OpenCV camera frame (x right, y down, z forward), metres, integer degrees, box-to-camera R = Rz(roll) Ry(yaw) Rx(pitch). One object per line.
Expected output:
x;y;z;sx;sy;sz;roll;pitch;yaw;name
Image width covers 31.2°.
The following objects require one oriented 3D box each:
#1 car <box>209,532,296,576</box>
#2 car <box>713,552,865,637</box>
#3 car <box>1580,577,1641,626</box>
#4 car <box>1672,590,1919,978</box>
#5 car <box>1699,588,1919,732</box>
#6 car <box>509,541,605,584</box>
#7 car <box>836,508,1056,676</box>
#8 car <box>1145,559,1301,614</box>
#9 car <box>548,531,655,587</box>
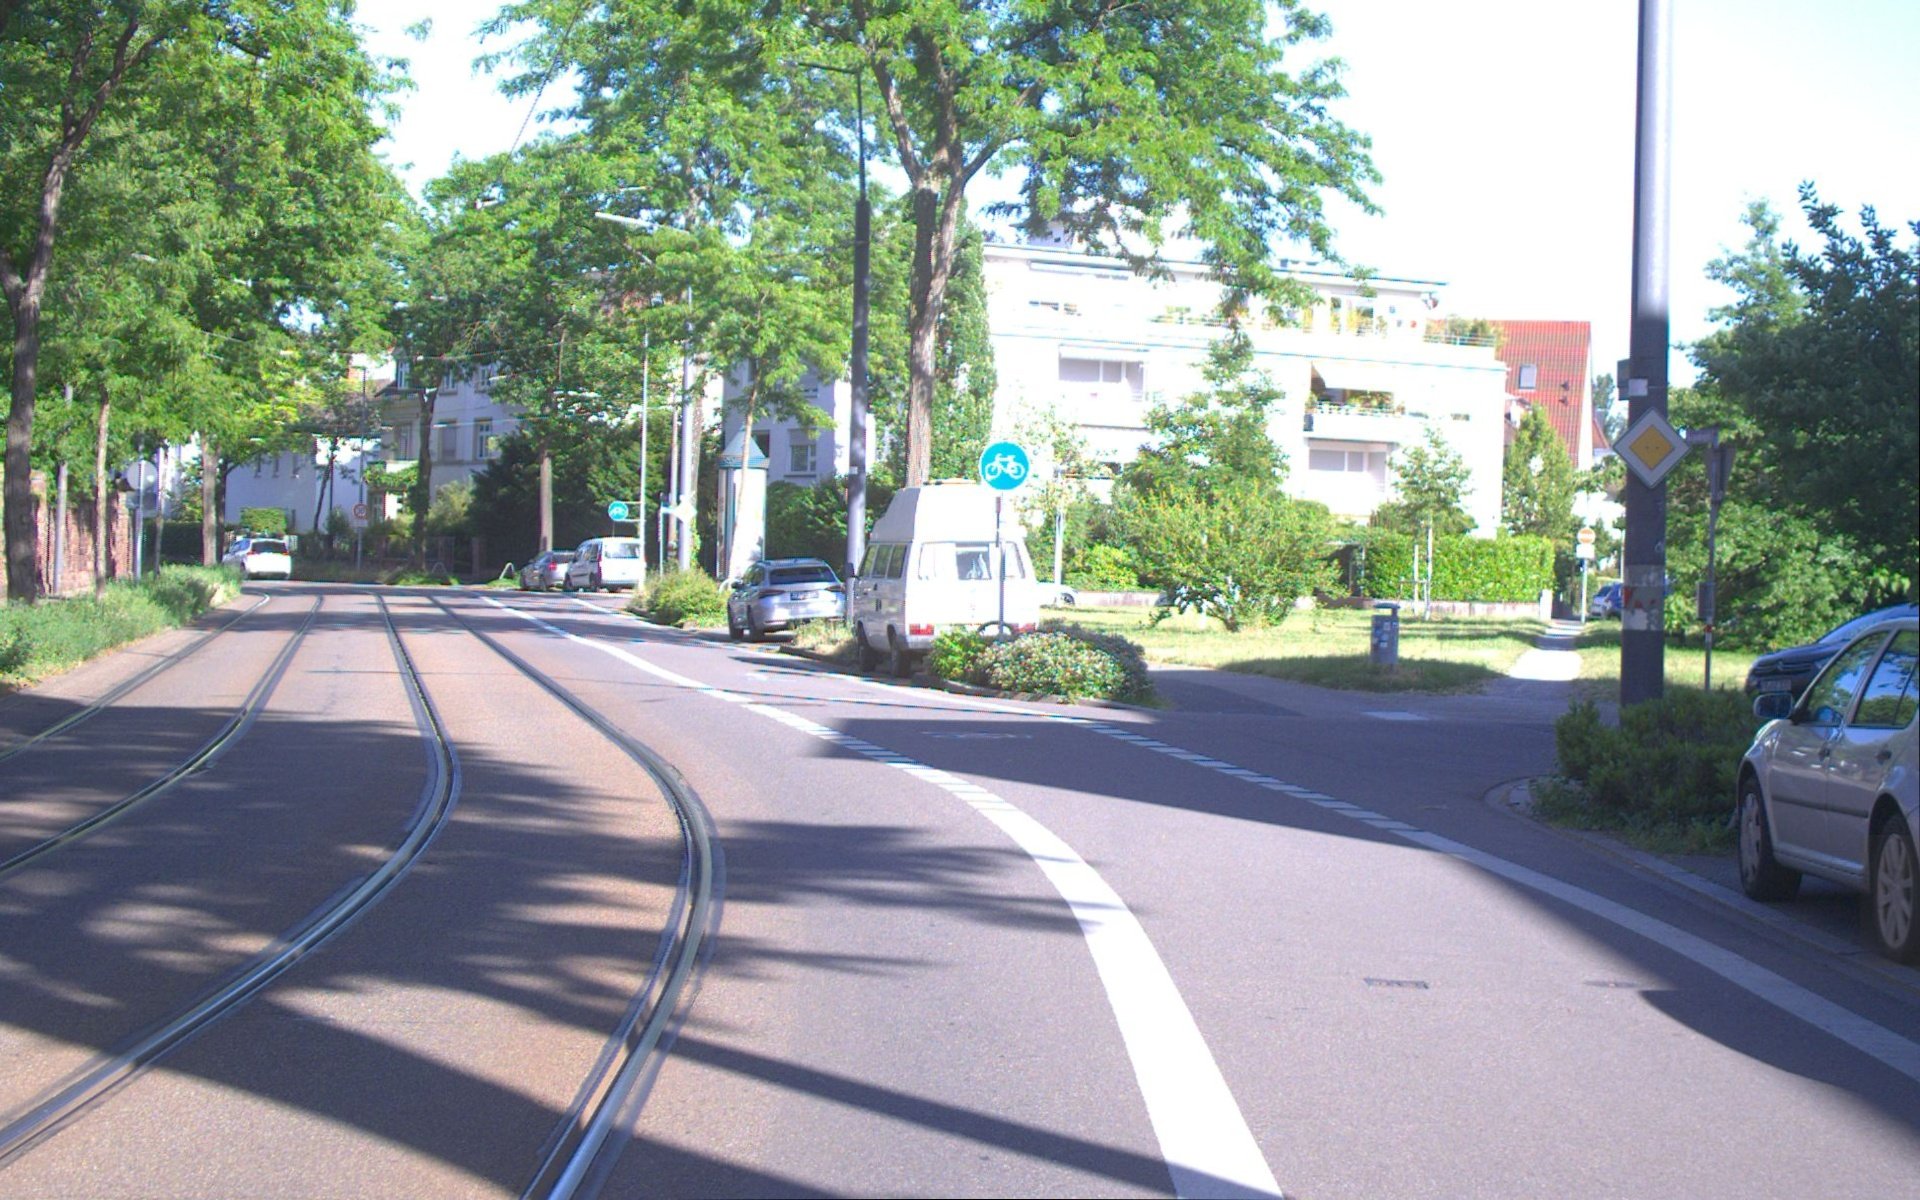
-27.721;-1.792;134.593;1.892;1.605;4.228;2;-1;-33;car
-3.238;-0.136;63.926;2.000;1.460;5.434;-2;1;-11;car
24.086;0.046;127.144;2.046;1.702;4.285;2;0;12;car
4.625;0.743;15.648;1.738;1.490;4.530;2;0;-1;car
10.492;0.684;37.601;4.447;1.485;2.009;1;-3;-28;car
-13.988;-1.299;119.185;1.993;1.418;4.333;1;0;-26;car
-0.254;-0.145;45.838;1.993;2.088;4.718;1;1;-12;car
7.906;-0.396;103.256;4.279;1.505;1.840;1;-2;-21;car
-11.872;-1.383;113.558;2.022;1.741;4.753;1;1;-25;car
